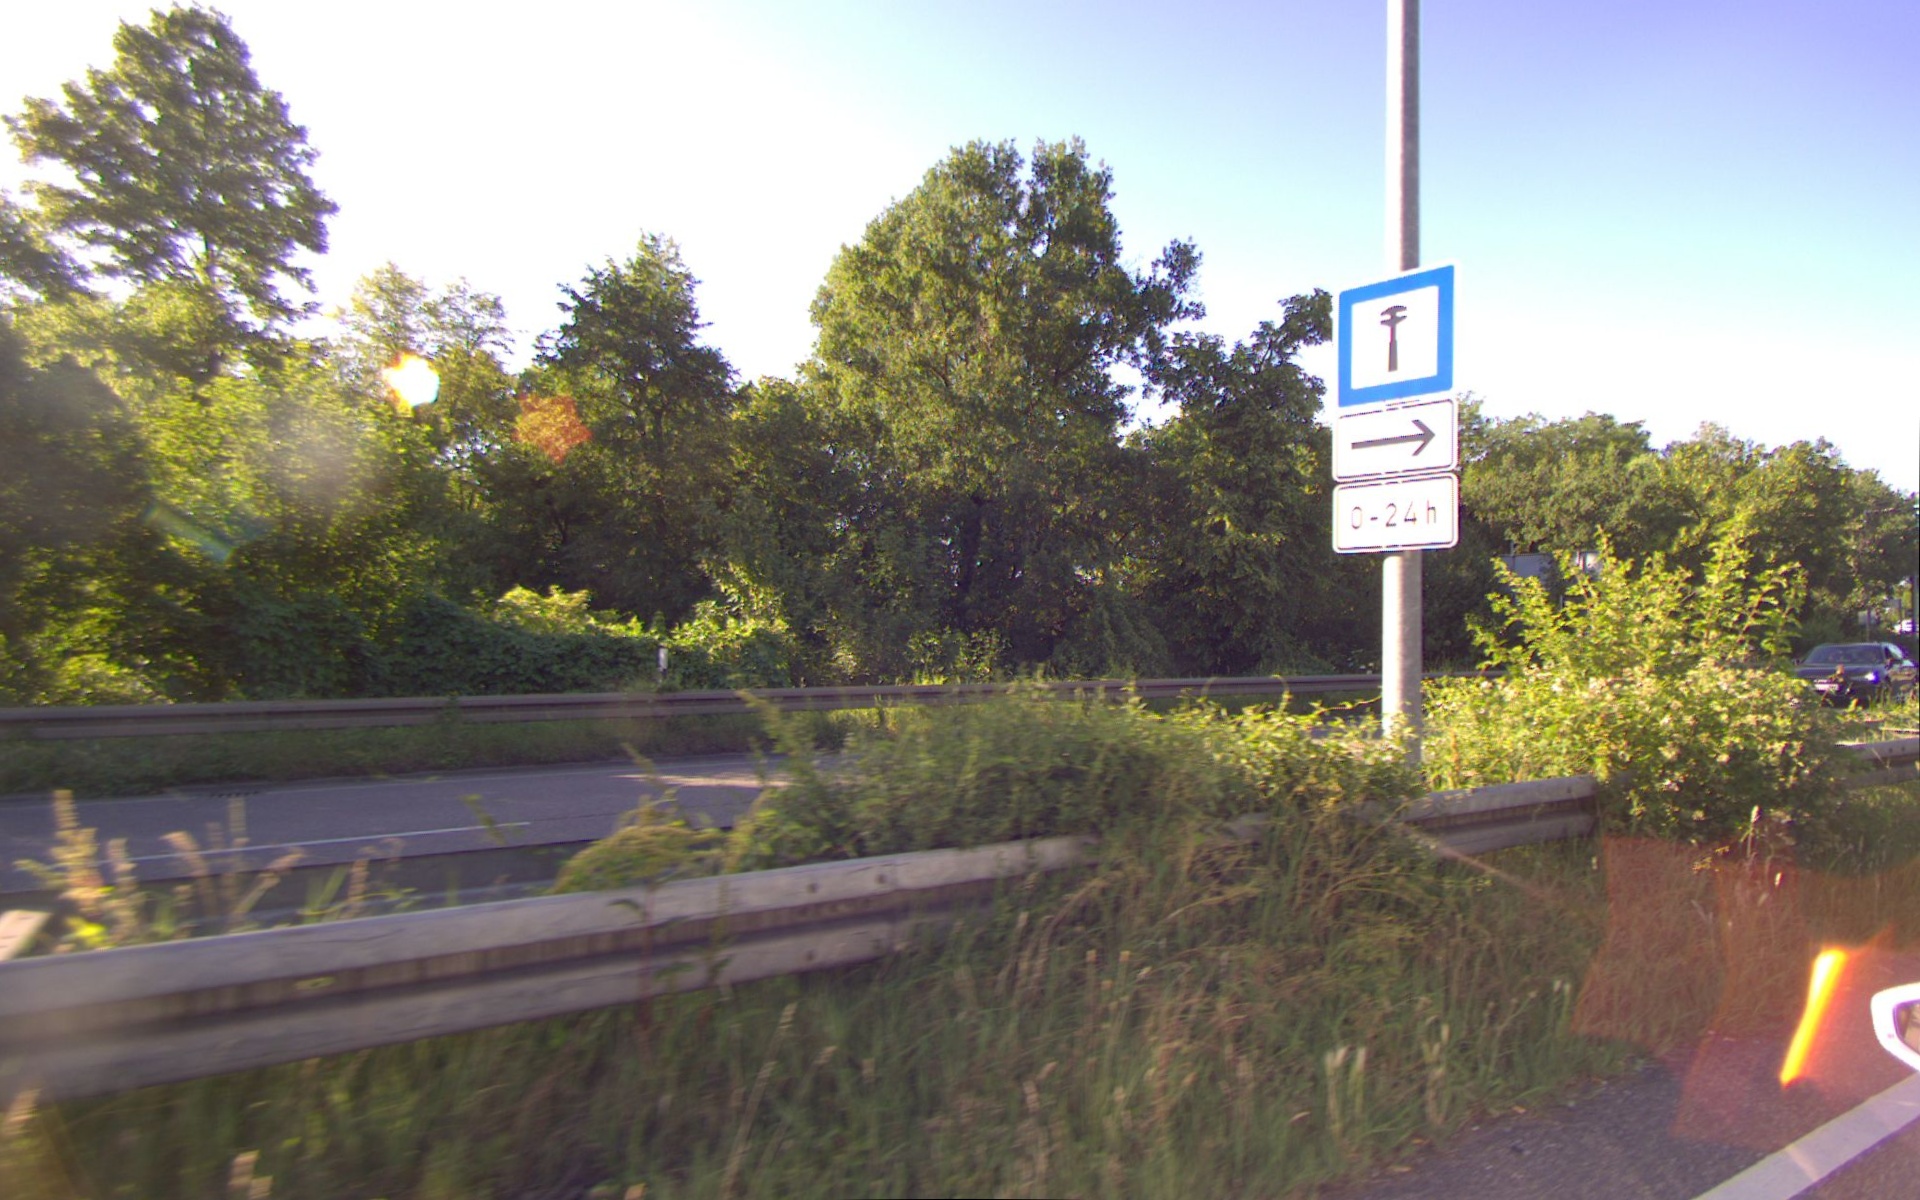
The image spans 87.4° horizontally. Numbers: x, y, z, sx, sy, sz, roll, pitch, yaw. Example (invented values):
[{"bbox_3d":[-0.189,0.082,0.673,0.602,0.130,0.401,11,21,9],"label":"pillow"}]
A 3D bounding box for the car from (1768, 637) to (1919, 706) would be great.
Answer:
[{"bbox_3d":[20.468,1.581,23.186,4.490,1.435,1.792,2,-3,-37],"label":"car"}]

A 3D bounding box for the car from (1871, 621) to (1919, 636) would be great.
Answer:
[{"bbox_3d":[93.929,2.840,100.591,2.227,1.528,4.003,0,-1,12],"label":"car"}]
